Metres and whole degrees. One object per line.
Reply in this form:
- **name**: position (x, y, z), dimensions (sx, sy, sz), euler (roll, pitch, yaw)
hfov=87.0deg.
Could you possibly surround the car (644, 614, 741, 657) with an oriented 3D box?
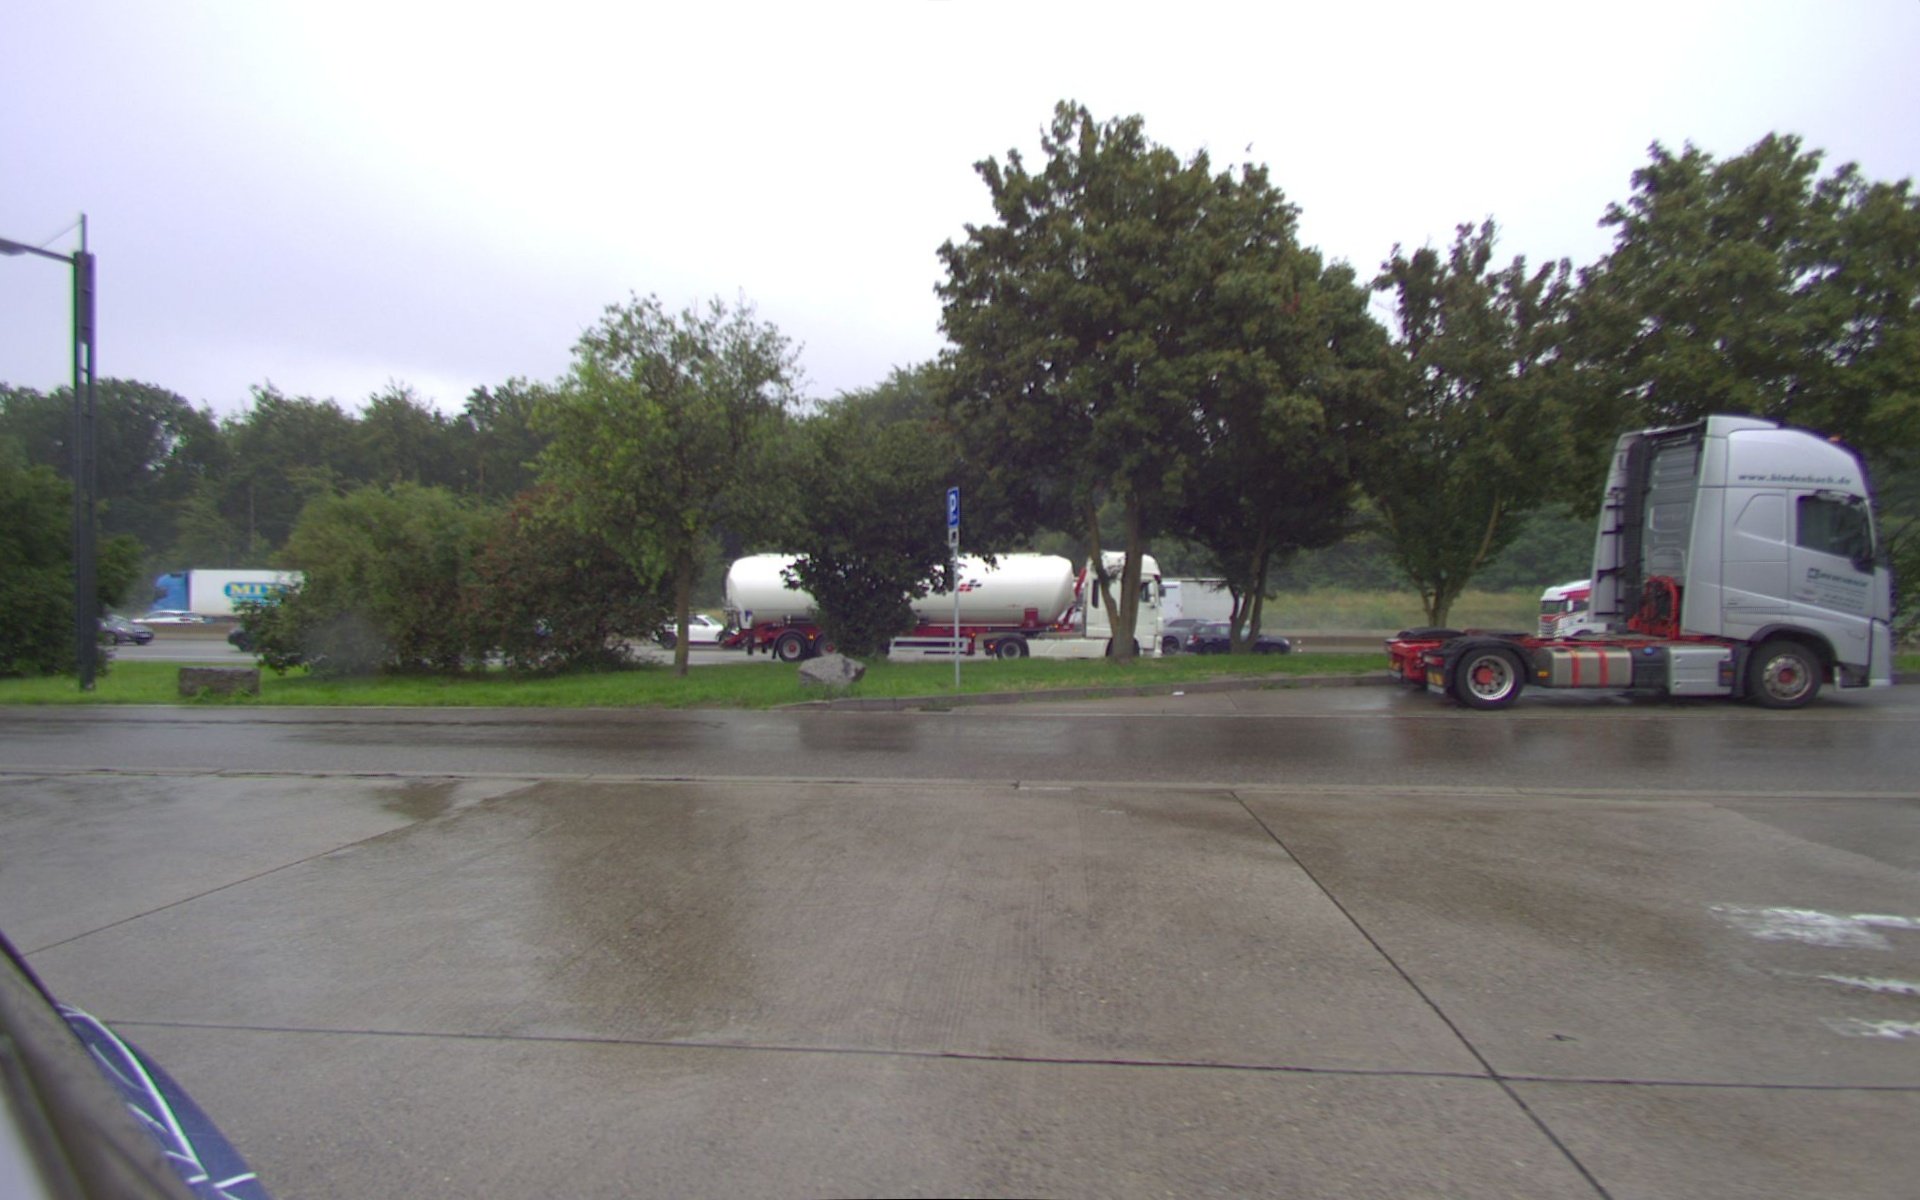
- **car**: position (-12.557, 1.662, 47.674), dimensions (3.951, 1.889, 2.002), euler (-1, -1, 6)

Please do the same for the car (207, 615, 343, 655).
- **car**: position (-28.241, 1.446, 41.795), dimensions (4.447, 1.590, 1.996), euler (0, -3, 7)

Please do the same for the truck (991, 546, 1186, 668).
- **truck**: position (4.338, 0.240, 35.069), dimensions (6.424, 4.039, 2.755), euler (0, -1, 4)

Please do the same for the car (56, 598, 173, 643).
- **car**: position (-39.474, 0.921, 47.317), dimensions (4.063, 2.029, 1.996), euler (0, 0, 7)

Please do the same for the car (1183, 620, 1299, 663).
- **car**: position (11.546, 1.697, 41.801), dimensions (4.351, 1.681, 1.820), euler (1, -1, 7)

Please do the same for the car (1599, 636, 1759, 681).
- **car**: position (26.541, 2.128, 37.467), dimensions (4.444, 1.492, 1.884), euler (1, 0, 4)

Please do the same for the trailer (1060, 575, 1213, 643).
- **trailer**: position (10.168, 0.484, 58.753), dimensions (8.417, 3.680, 2.239), euler (-1, 3, 1)

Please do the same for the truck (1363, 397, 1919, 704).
- **truck**: position (9.607, -0.594, 14.815), dimensions (6.240, 3.934, 2.919), euler (-1, 0, 7)

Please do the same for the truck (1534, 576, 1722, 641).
- **truck**: position (38.457, 0.514, 58.550), dimensions (8.584, 3.532, 2.775), euler (-1, -1, 8)

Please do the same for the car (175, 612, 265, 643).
- **car**: position (-42.886, 1.576, 58.671), dimensions (3.946, 1.660, 1.820), euler (-1, -1, 3)

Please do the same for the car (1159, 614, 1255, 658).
- **car**: position (11.178, 1.613, 45.970), dimensions (3.951, 1.889, 2.002), euler (-1, -1, 6)

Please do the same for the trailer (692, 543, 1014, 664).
- **trailer**: position (-3.583, 0.125, 35.482), dimensions (10.895, 4.056, 2.769), euler (0, -1, 3)
